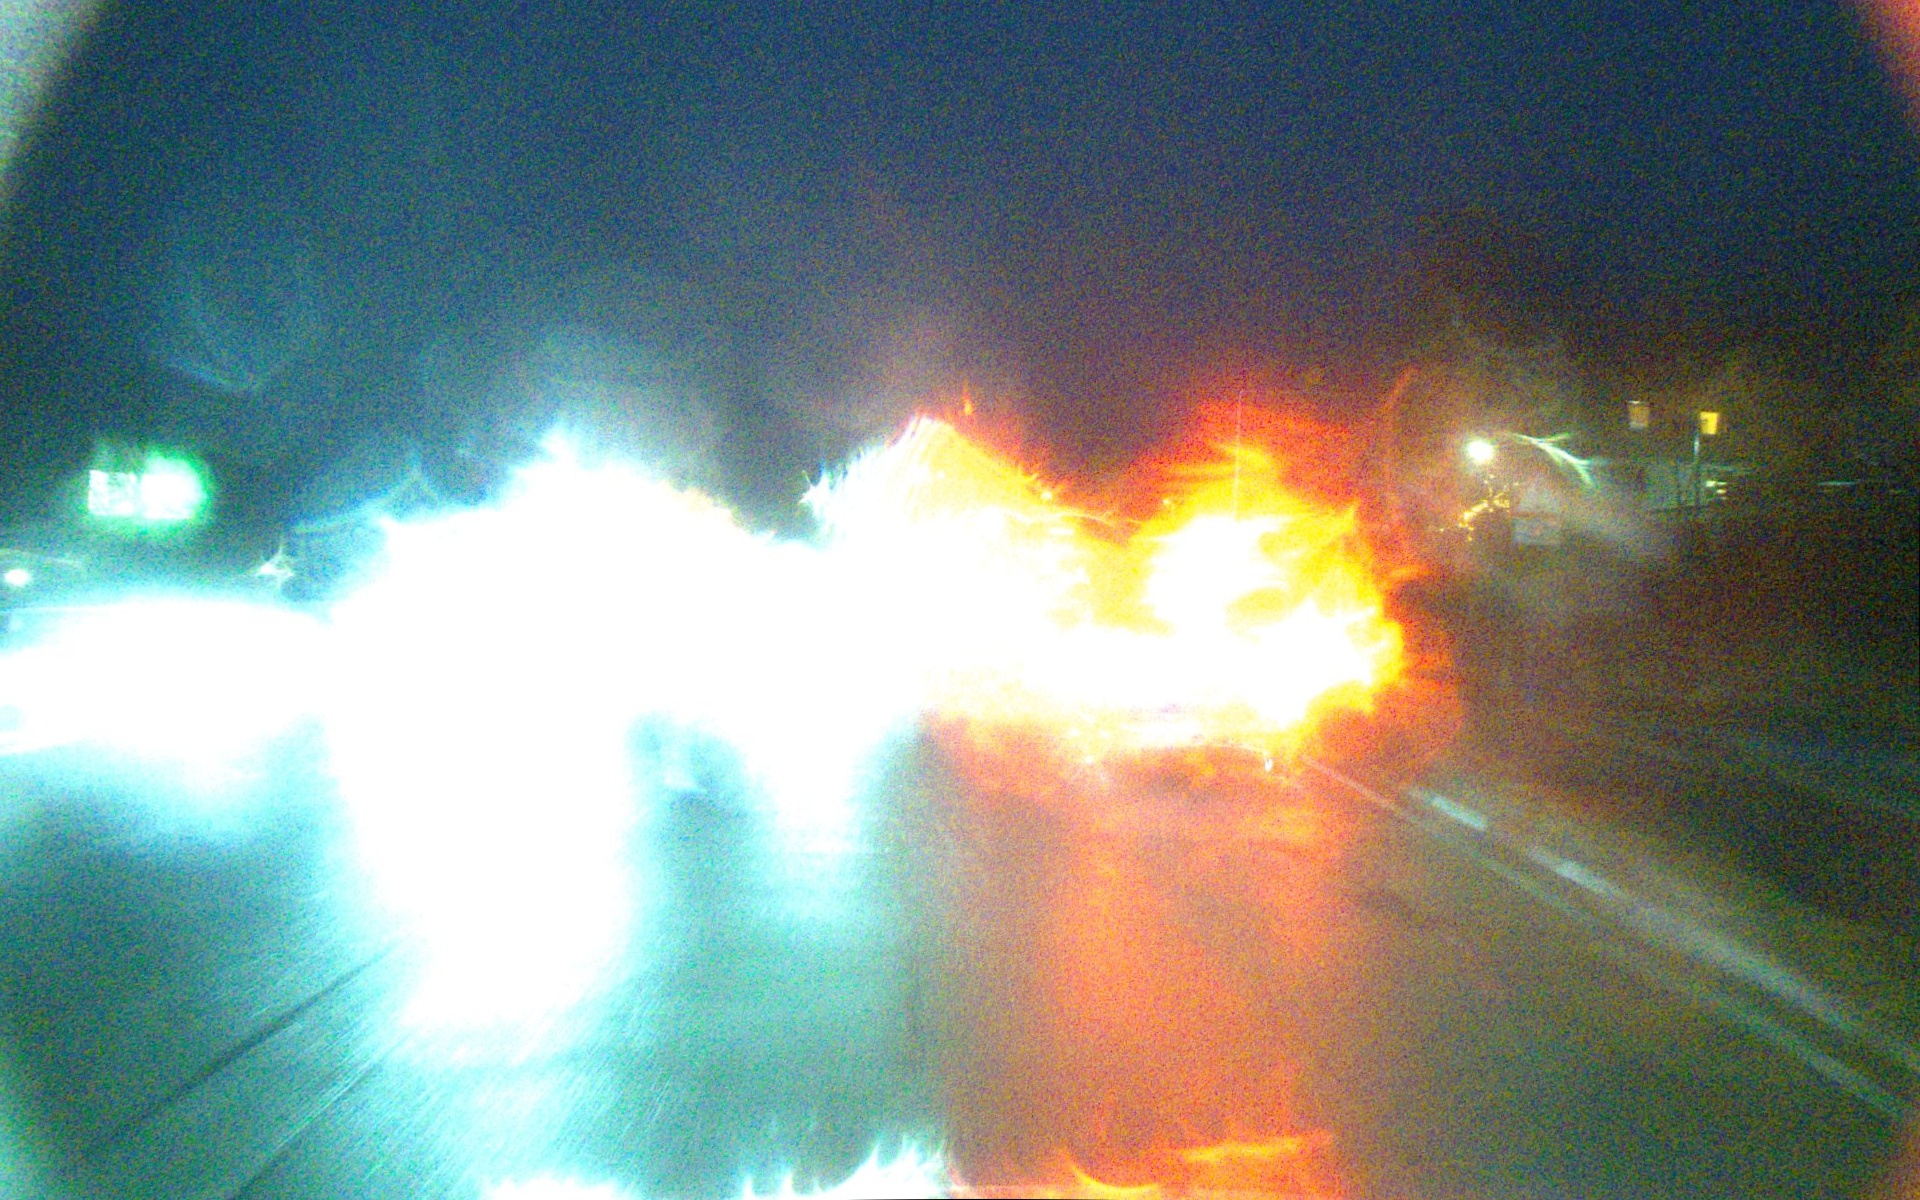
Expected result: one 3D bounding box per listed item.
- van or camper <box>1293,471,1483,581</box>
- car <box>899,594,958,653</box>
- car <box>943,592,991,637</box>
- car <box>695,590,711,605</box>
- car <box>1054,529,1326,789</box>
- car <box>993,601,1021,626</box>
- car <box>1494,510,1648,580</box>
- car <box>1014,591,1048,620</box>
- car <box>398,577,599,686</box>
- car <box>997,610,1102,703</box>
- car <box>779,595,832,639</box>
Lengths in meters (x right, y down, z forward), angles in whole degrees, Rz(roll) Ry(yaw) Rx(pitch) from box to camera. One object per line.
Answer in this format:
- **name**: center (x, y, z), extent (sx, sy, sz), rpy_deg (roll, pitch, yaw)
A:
- **van or camper**: center (12.444, -2.071, 48.660), extent (2.539, 2.959, 6.329), rpy_deg (0, 0, -17)
- **car**: center (-0.932, 0.695, 49.491), extent (1.660, 1.658, 3.852), rpy_deg (1, 0, -1)
- **car**: center (0.302, 0.536, 63.559), extent (1.673, 1.666, 3.732), rpy_deg (0, 0, 3)
- **car**: center (-33.790, -0.386, 217.437), extent (1.956, 1.945, 4.734), rpy_deg (1, 0, -8)
- **car**: center (1.919, 0.448, 15.051), extent (1.902, 2.006, 4.218), rpy_deg (1, 0, 1)
- **car**: center (2.895, 0.814, 100.961), extent (1.628, 1.475, 4.051), rpy_deg (1, -1, 2)
- **car**: center (15.514, -1.367, 42.237), extent (1.609, 1.646, 4.118), rpy_deg (1, 0, -15)
- **car**: center (3.767, 0.303, 87.208), extent (1.628, 1.475, 4.052), rpy_deg (0, -1, 5)
- **car**: center (-6.832, 0.420, 24.995), extent (1.879, 1.469, 4.544), rpy_deg (1, 0, -2)
- **car**: center (1.598, 0.953, 29.636), extent (1.731, 1.475, 4.220), rpy_deg (1, 0, 3)
- **car**: center (-5.458, 0.577, 58.895), extent (1.661, 1.459, 4.291), rpy_deg (1, 0, -3)
